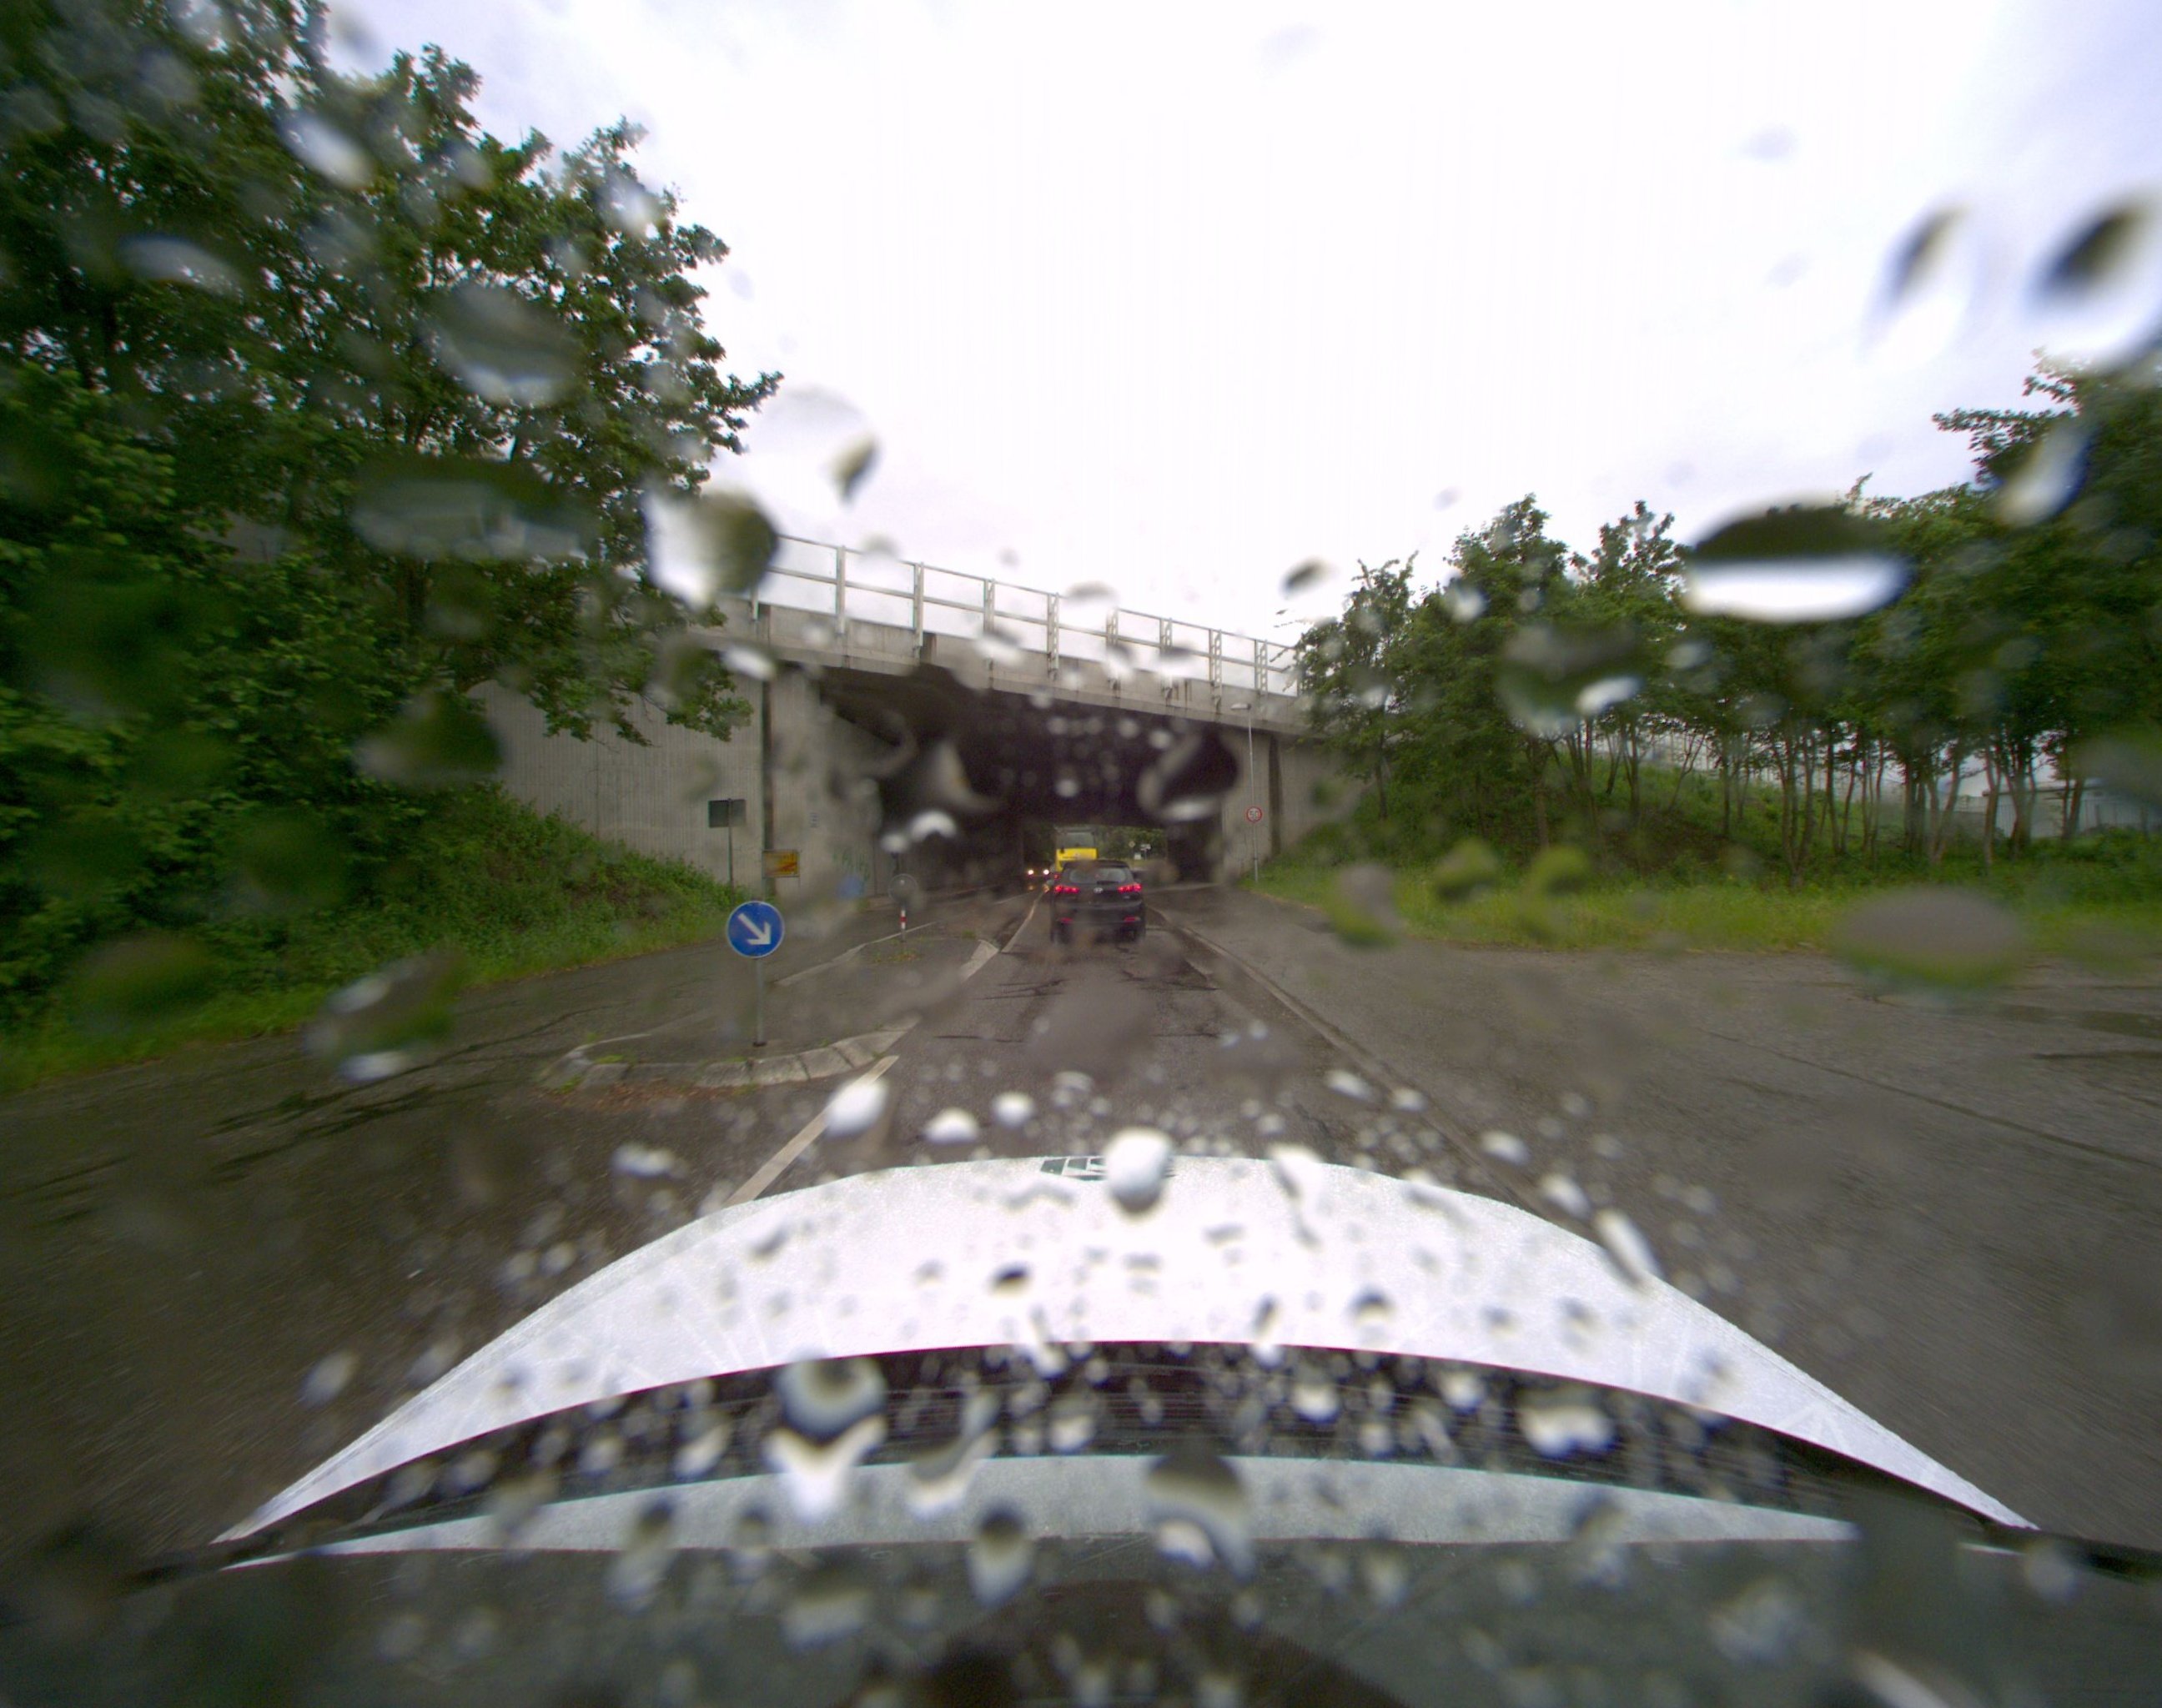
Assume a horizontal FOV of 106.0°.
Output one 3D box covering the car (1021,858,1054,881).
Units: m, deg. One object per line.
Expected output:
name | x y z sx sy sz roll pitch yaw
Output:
car | -2.874 1.013 54.515 1.683 1.487 4.076 -1 0 3

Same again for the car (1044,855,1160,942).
car | 0.368 0.780 15.931 1.987 1.487 3.999 0 0 0

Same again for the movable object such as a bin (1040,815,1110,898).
movable object such as a bin | -0.186 0.106 29.422 2.238 2.669 6.625 0 0 0
